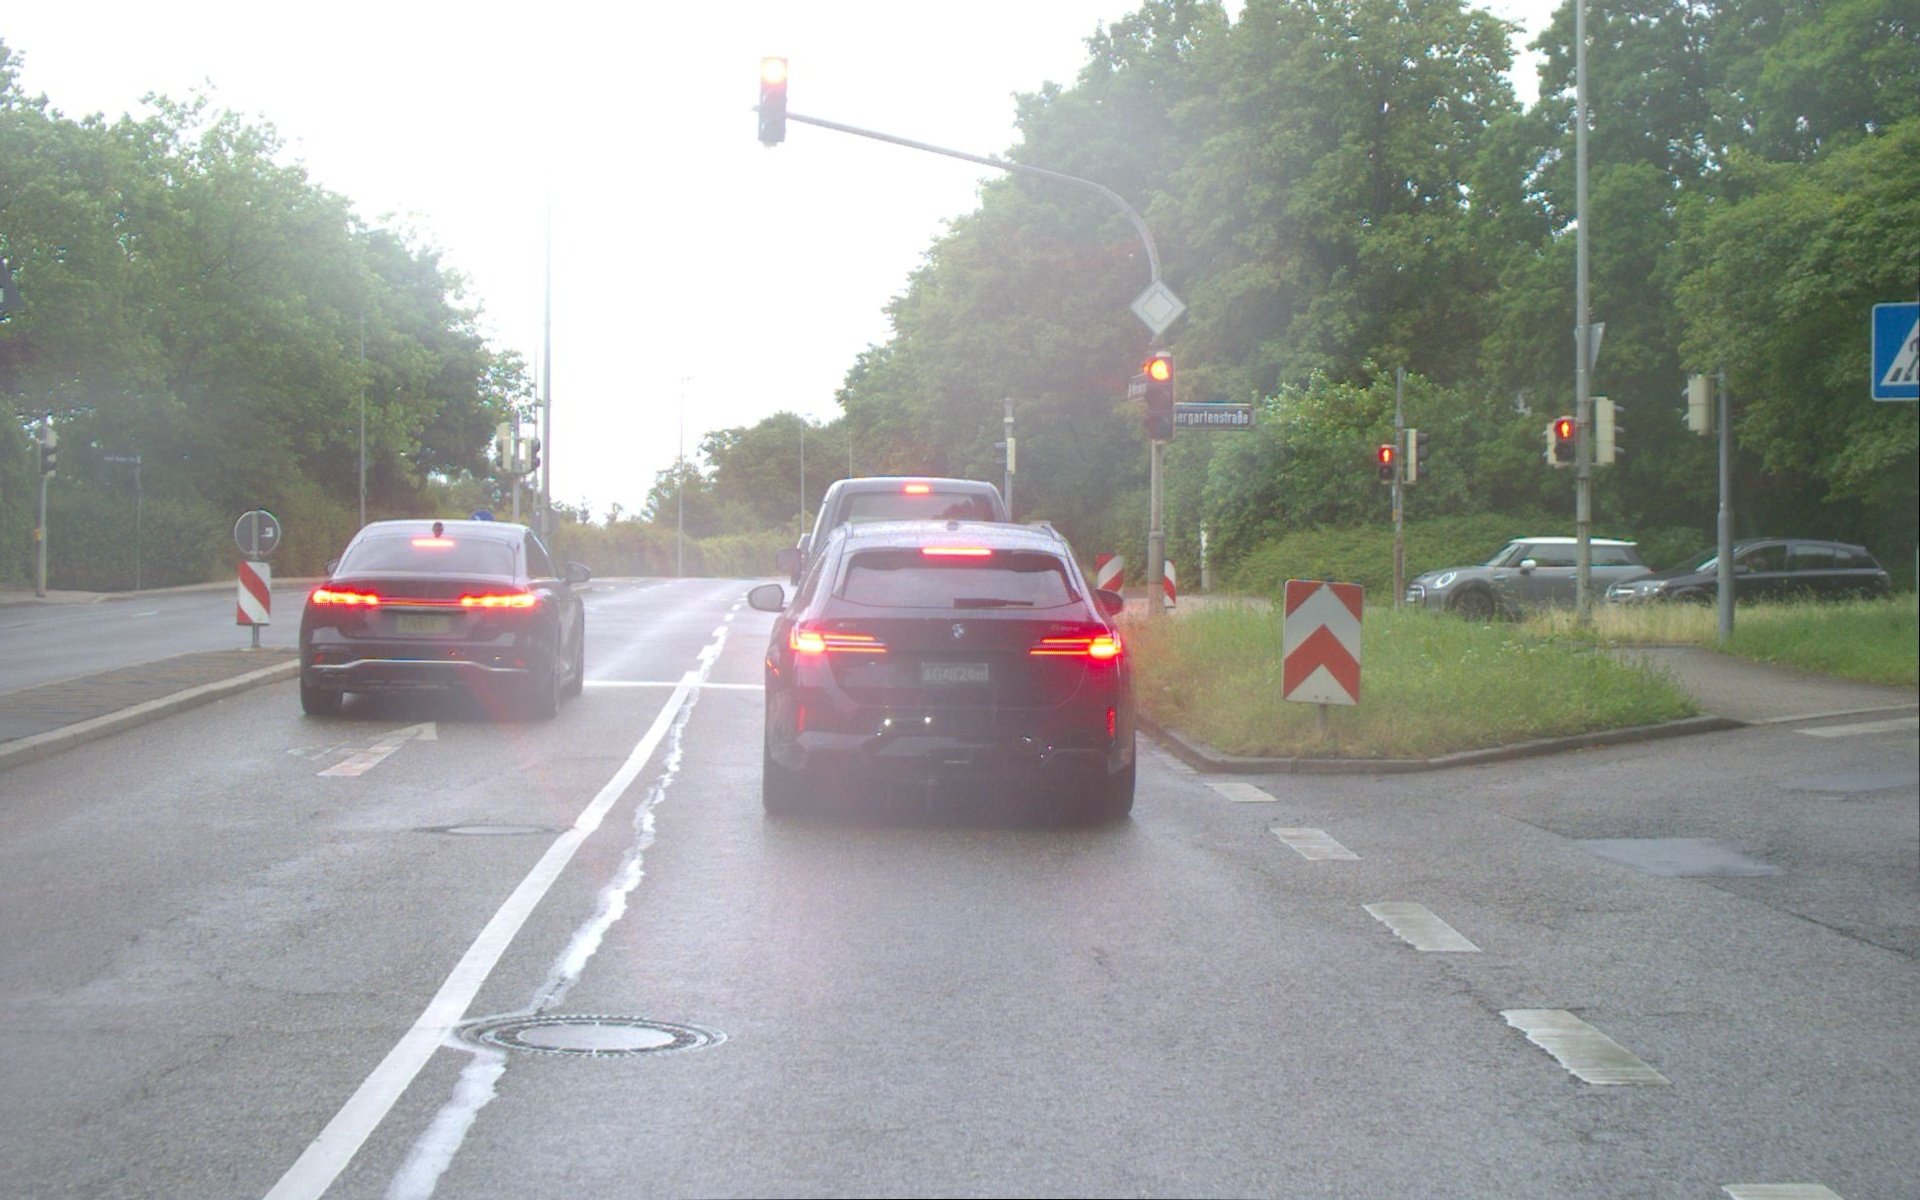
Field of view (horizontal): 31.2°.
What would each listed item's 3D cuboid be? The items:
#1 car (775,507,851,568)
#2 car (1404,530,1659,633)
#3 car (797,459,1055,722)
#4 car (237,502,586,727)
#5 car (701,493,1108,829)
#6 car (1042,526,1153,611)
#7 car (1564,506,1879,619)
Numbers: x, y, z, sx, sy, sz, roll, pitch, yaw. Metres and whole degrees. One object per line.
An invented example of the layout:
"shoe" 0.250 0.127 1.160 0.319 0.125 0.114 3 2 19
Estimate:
"car" -4.054 -1.745 95.399 1.993 1.618 3.953 -1 1 -1
"car" 8.738 -0.279 52.747 3.502 1.422 1.703 -2 -1 -4
"car" -0.284 -0.106 26.863 1.818 1.862 3.953 1 1 -1
"car" -4.040 0.064 26.031 1.993 1.522 4.328 -1 1 -1
"car" -0.187 0.274 18.670 1.898 1.546 4.614 2 0 2
"car" 2.615 -0.616 65.987 1.873 1.537 3.953 -1 1 -1
"car" 10.918 -0.528 49.437 3.986 1.504 1.902 -1 -1 -8
